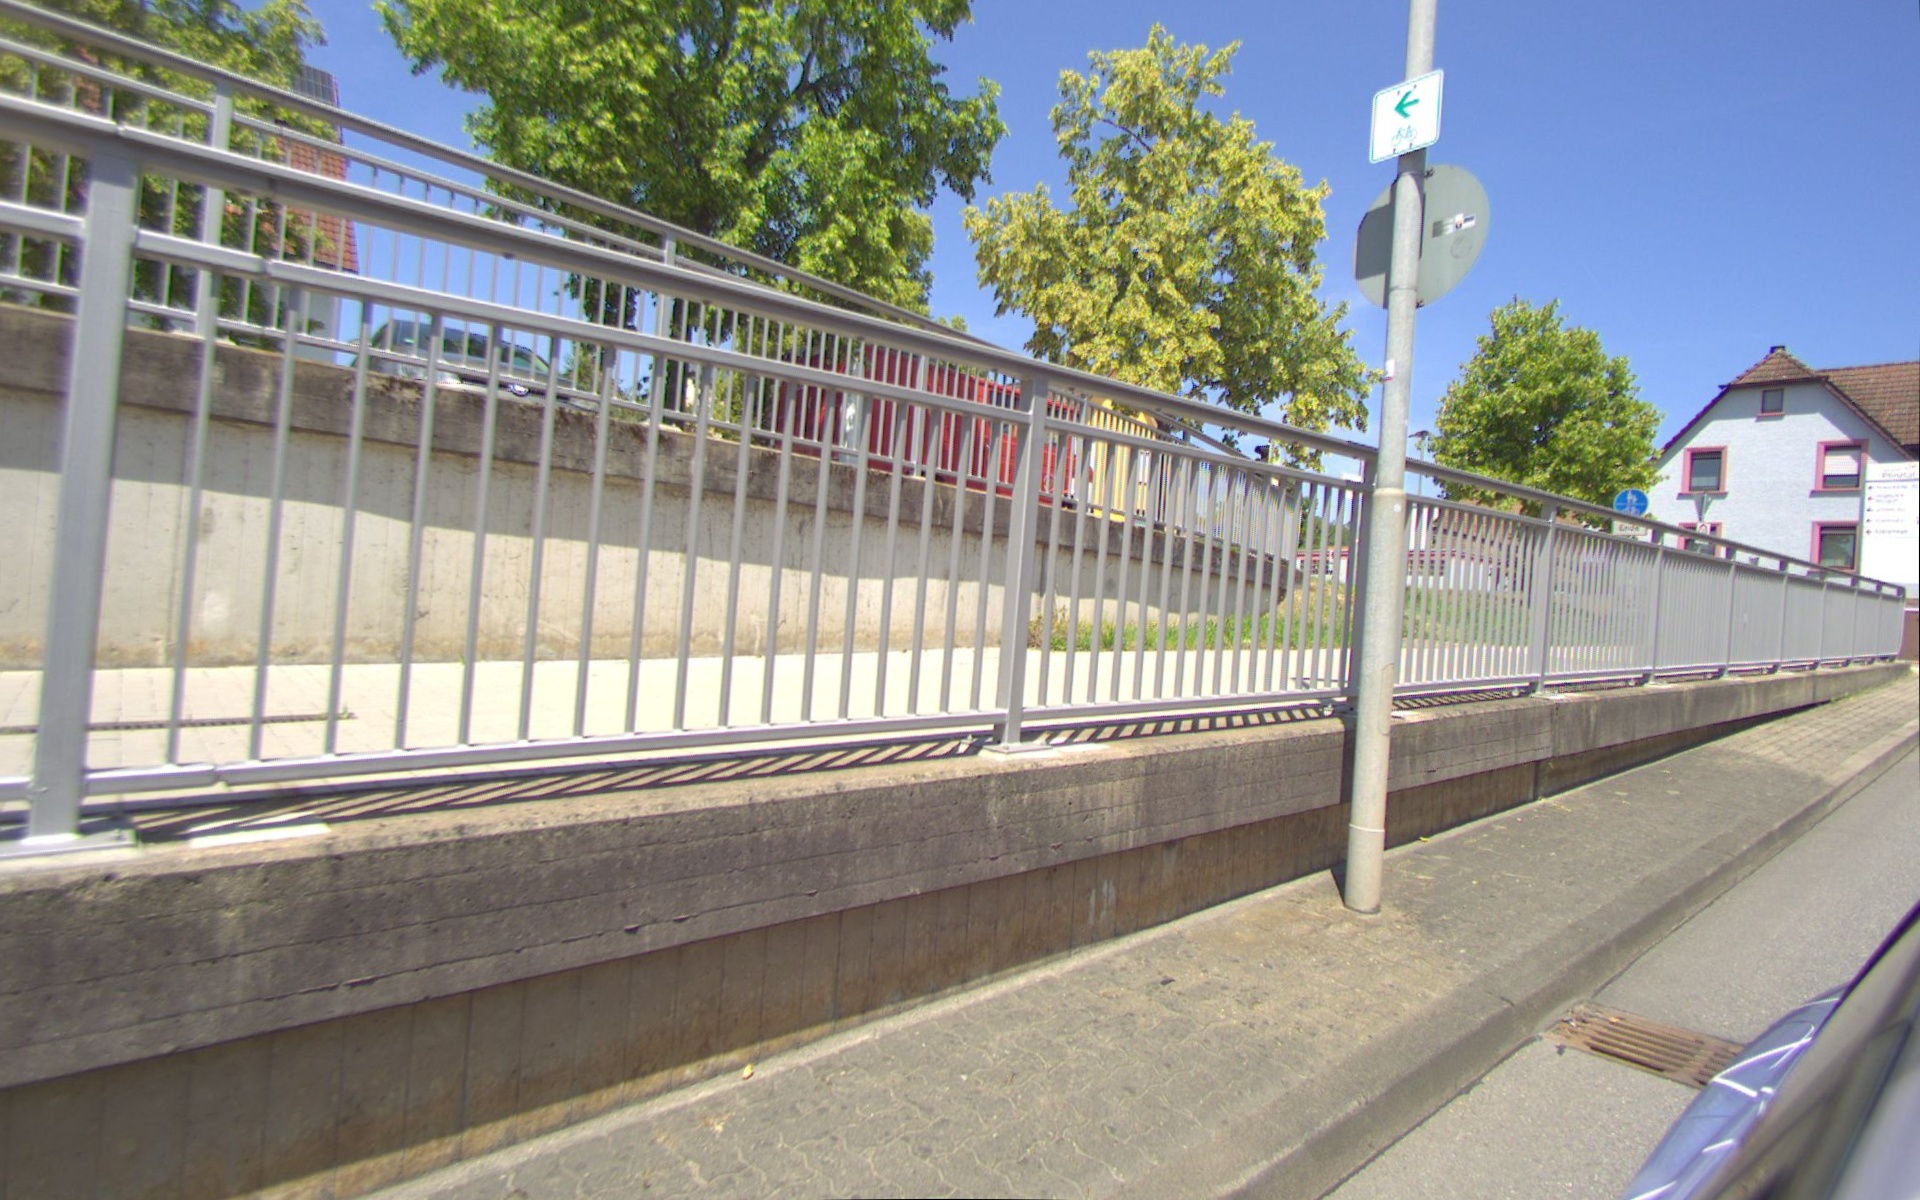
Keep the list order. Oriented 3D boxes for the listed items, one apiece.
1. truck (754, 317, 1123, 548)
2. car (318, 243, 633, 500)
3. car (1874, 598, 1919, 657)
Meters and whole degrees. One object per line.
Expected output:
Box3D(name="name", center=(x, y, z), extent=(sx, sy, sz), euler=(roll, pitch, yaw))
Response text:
Box3D(name="truck", center=(-0.152, -2.172, 14.871), extent=(5.167, 2.364, 2.136), euler=(4, -1, -41))
Box3D(name="car", center=(-4.690, -1.874, 9.464), extent=(1.716, 1.517, 3.997), euler=(4, -1, -39))
Box3D(name="car", center=(26.526, 0.833, 26.552), extent=(3.672, 1.497, 1.747), euler=(5, 2, 44))
